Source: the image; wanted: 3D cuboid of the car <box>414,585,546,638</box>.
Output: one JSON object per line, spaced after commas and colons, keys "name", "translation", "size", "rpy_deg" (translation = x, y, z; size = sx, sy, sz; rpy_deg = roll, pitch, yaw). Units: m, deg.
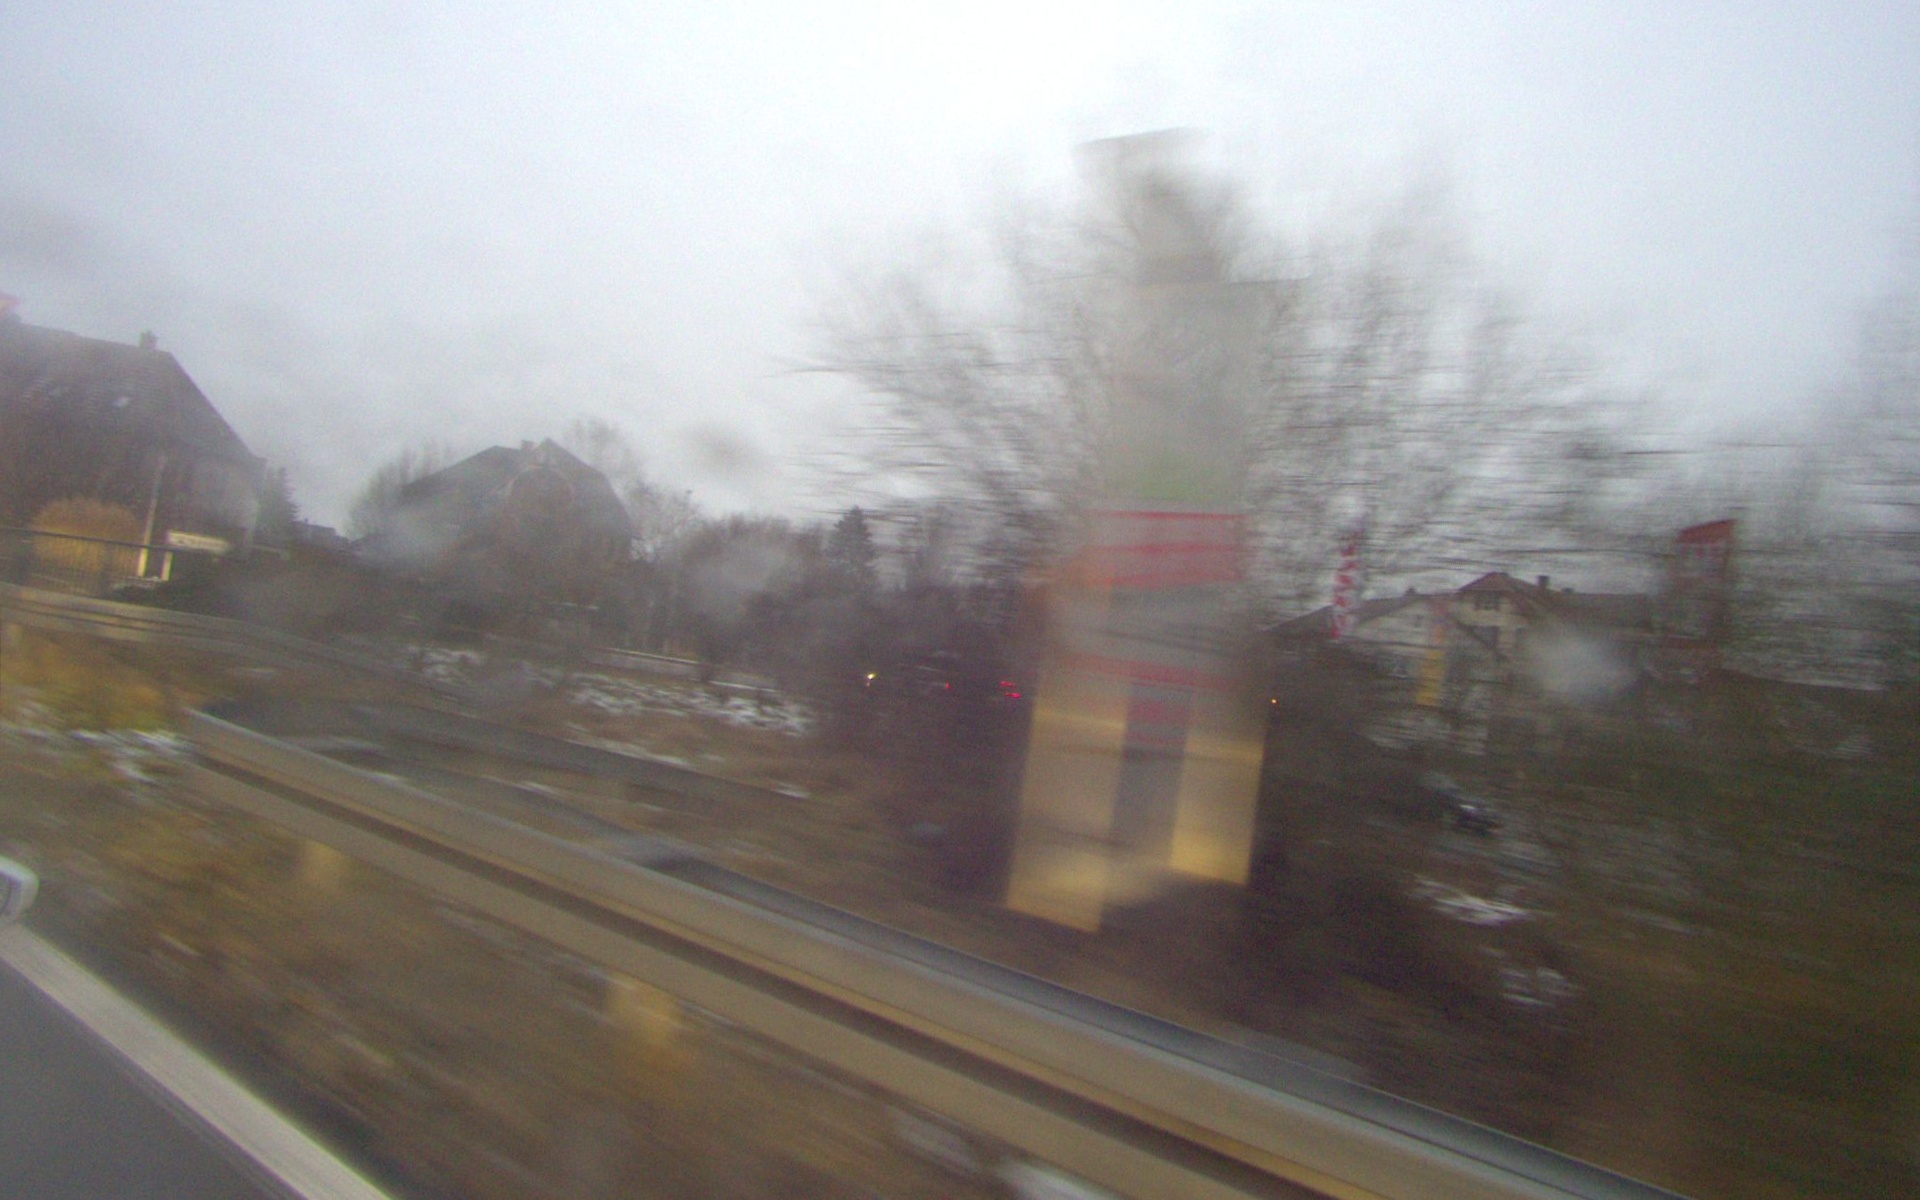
{"name": "car", "translation": [-23.718, 0.617, 49.954], "size": [5.240, 1.887, 2.367], "rpy_deg": [8, -2, -7]}
